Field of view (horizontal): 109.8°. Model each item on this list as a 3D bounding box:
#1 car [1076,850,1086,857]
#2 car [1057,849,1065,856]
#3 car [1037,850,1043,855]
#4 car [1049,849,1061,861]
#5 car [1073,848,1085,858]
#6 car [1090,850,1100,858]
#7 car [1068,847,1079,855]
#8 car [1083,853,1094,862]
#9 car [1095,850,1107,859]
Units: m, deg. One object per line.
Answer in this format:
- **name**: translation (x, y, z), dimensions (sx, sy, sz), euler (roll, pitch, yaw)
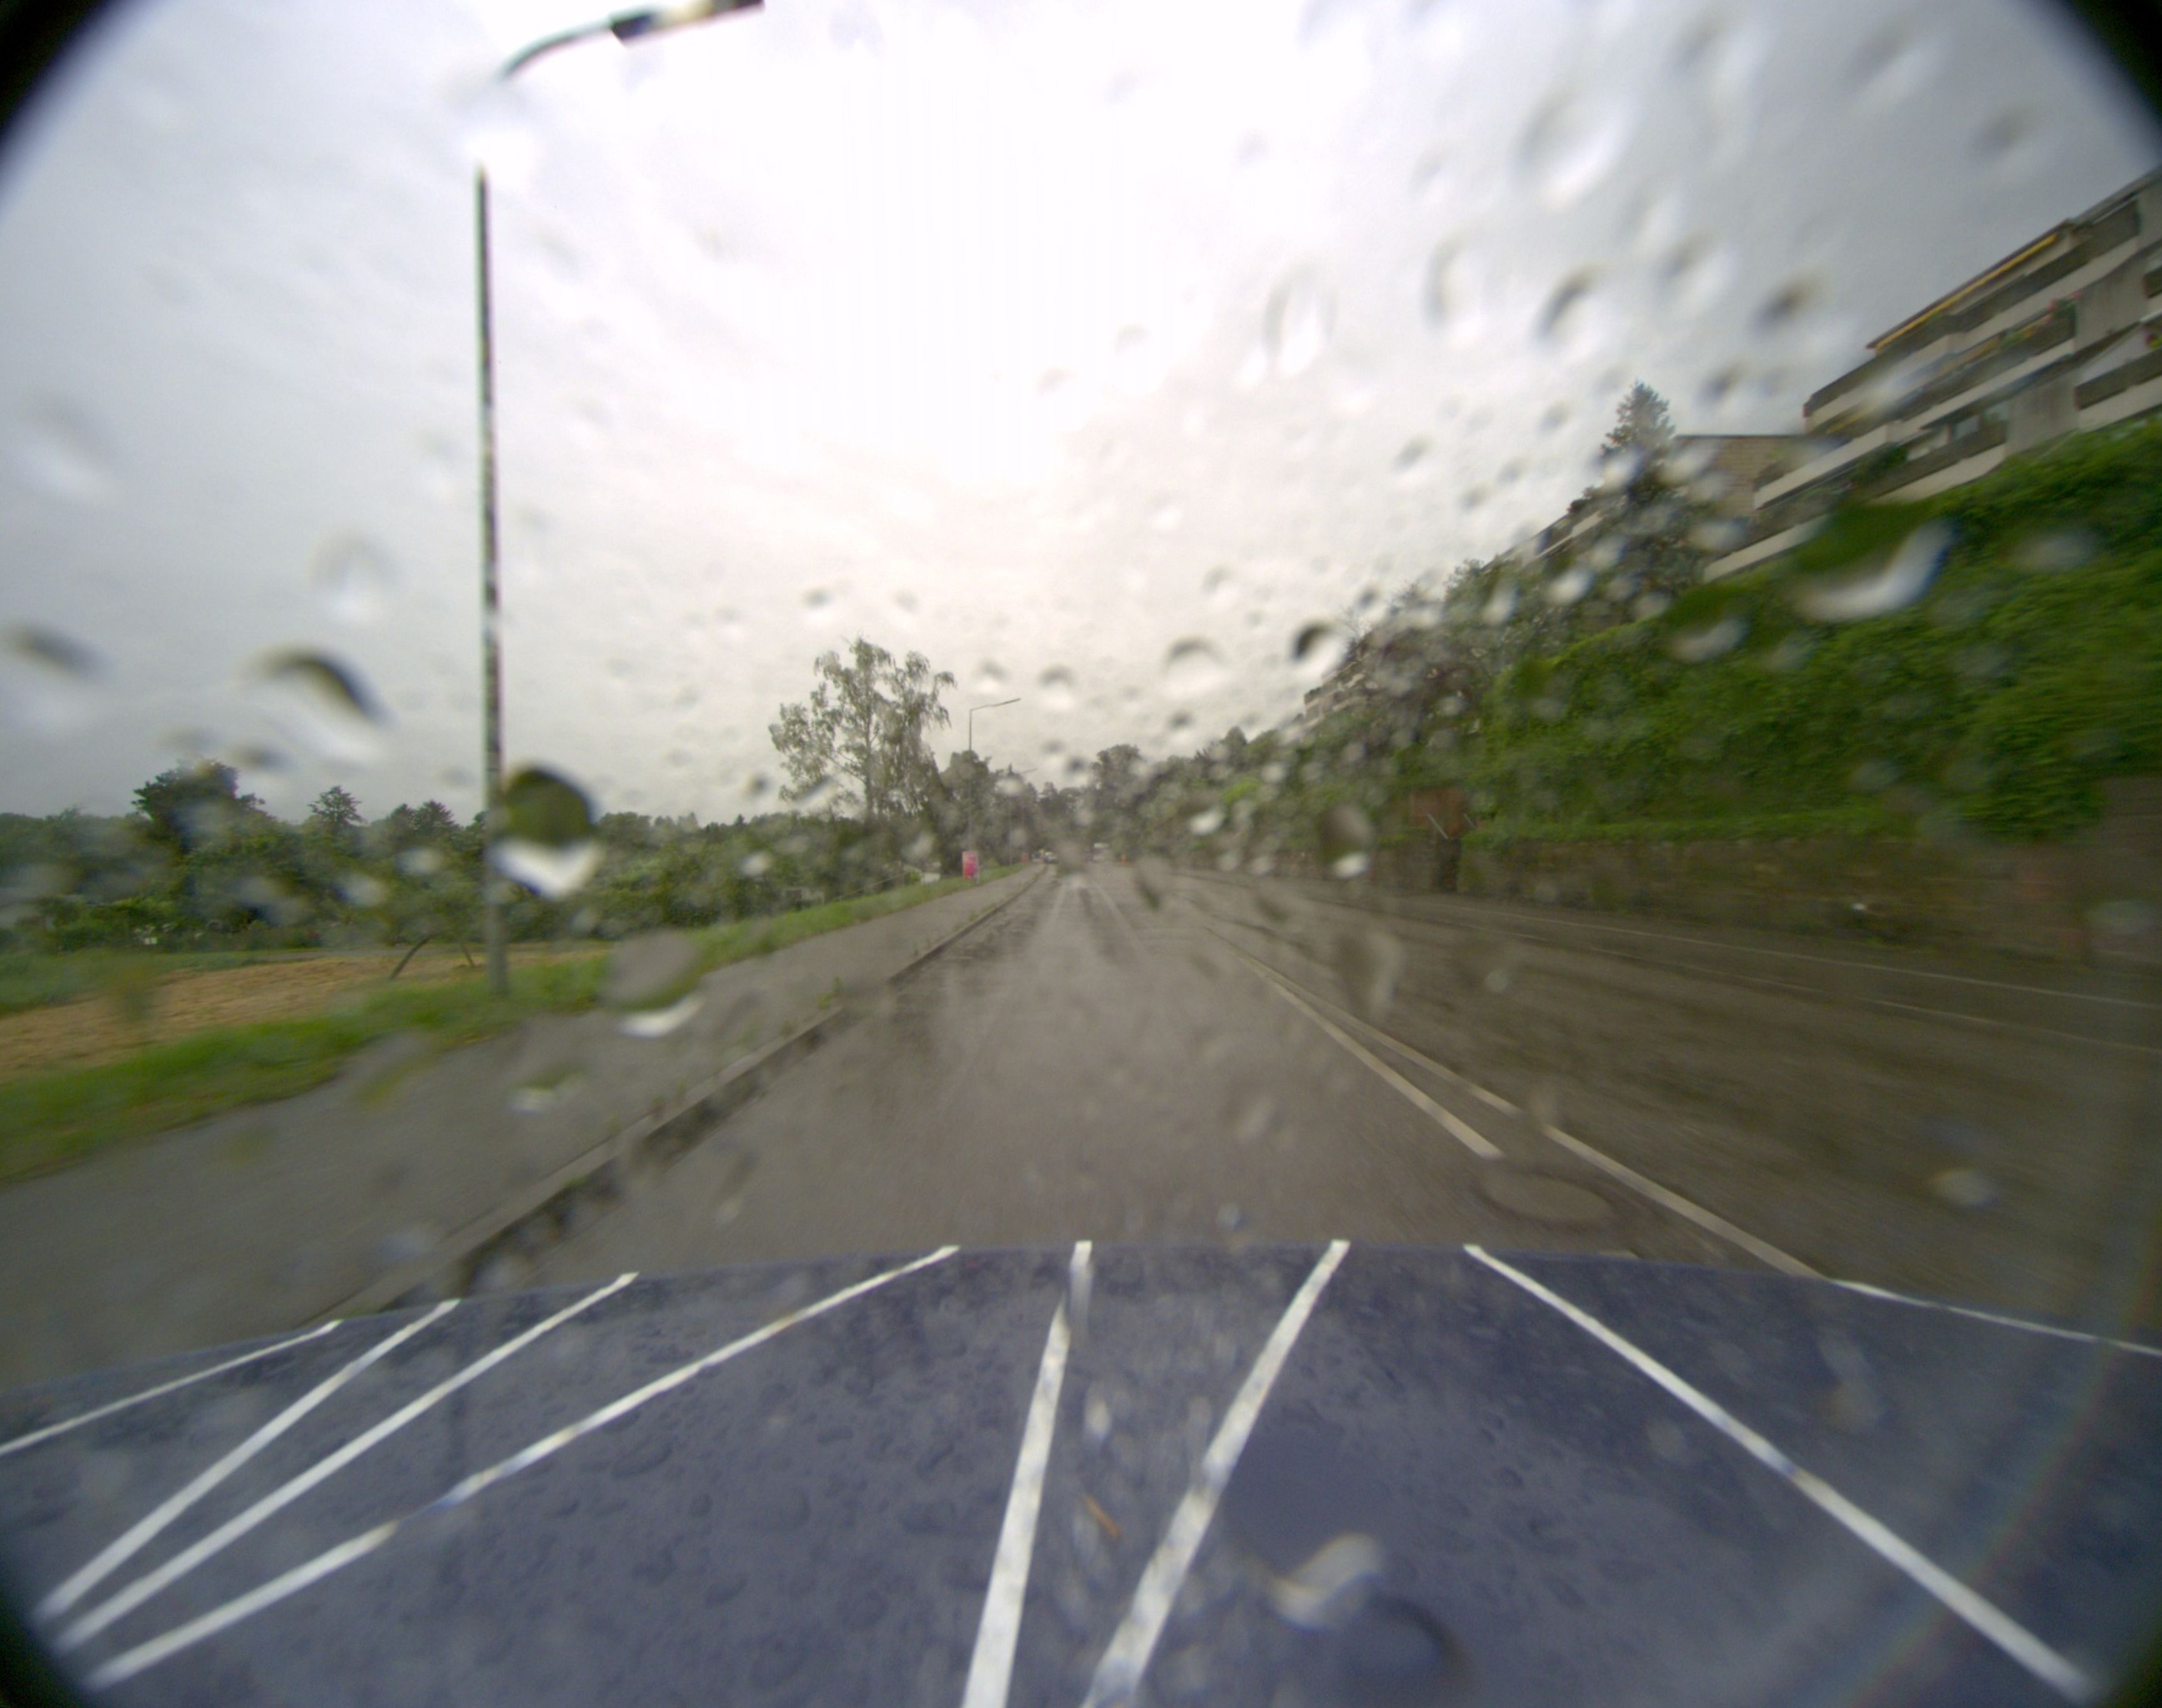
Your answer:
- **car**: translation (-0.011, -0.052, 170.769), dimensions (1.853, 1.583, 3.704), euler (-2, 0, -2)
- **car**: translation (-5.031, -0.307, 191.095), dimensions (1.853, 1.583, 3.704), euler (-2, 0, -2)
- **car**: translation (-13.958, -0.387, 258.459), dimensions (1.853, 1.583, 5.144), euler (-2, 0, -2)
- **car**: translation (-4.302, 0.180, 126.301), dimensions (1.999, 2.002, 4.000), euler (-1, 0, -1)
- **car**: translation (-0.410, -0.284, 175.075), dimensions (1.855, 2.137, 3.701), euler (-2, 0, -13)
- **car**: translation (2.764, 0.040, 153.401), dimensions (1.853, 1.583, 3.704), euler (-2, 0, -2)
- **car**: translation (-1.963, -0.750, 192.294), dimensions (1.855, 2.137, 3.701), euler (-2, 0, -13)
- **car**: translation (1.242, 0.553, 130.166), dimensions (1.597, 1.434, 3.703), euler (0, 1, -2)
- **car**: translation (3.510, 0.102, 135.217), dimensions (1.853, 1.583, 3.704), euler (-2, 0, -2)
